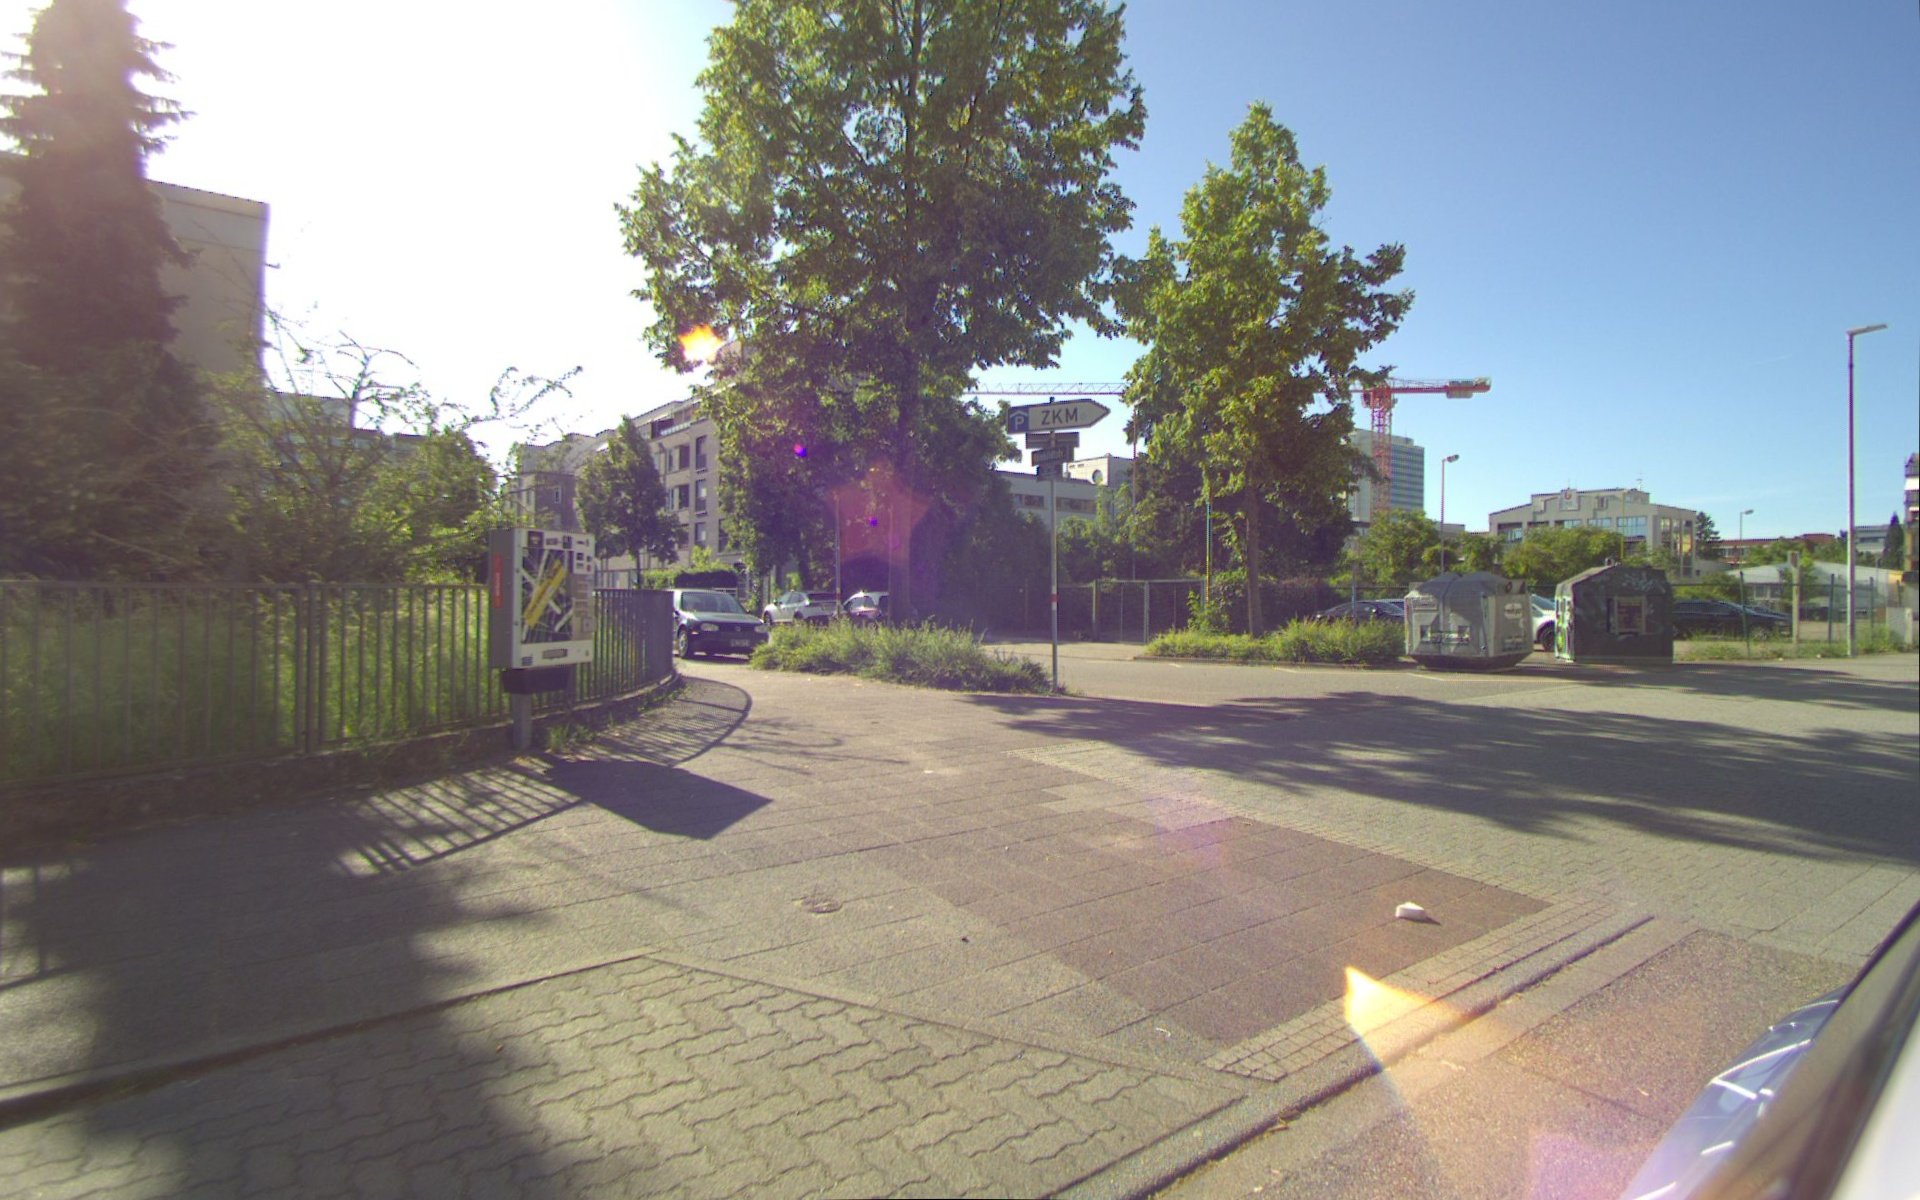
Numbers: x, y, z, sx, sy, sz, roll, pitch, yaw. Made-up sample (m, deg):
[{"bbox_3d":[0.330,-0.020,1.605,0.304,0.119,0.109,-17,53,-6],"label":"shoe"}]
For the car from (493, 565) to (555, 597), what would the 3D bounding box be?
[{"bbox_3d":[-41.595,-1.811,96.631,5.064,2.939,2.012,1,0,-40],"label":"car"}]

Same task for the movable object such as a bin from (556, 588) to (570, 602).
[{"bbox_3d":[-31.611,-0.396,80.535,0.847,1.050,0.677,-3,3,-39],"label":"movable object such as a bin"}]

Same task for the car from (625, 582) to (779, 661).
[{"bbox_3d":[-5.575,0.378,21.470,1.719,1.439,4.424,0,1,-35],"label":"car"}]

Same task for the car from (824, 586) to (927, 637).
[{"bbox_3d":[-2.782,0.330,32.814,1.692,1.492,3.544,-2,2,-38],"label":"car"}]

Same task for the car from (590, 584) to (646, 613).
[{"bbox_3d":[-19.008,-0.120,56.208,1.812,1.492,4.027,-2,2,-36],"label":"car"}]

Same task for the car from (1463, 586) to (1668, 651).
[{"bbox_3d":[16.449,0.441,27.716,1.961,1.630,4.428,1,0,-33],"label":"car"}]

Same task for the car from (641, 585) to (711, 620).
[{"bbox_3d":[-13.506,0.067,47.966,1.812,1.492,4.359,-2,2,-36],"label":"car"}]

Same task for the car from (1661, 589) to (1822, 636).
[{"bbox_3d":[28.045,0.404,36.440,1.860,1.580,4.245,1,0,-33],"label":"car"}]

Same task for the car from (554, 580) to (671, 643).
[{"bbox_3d":[-9.313,0.280,26.965,1.756,1.535,3.998,1,0,-37],"label":"car"}]

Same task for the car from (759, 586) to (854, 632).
[{"bbox_3d":[-5.698,0.284,37.170,1.812,1.492,4.001,-2,2,-36],"label":"car"}]
